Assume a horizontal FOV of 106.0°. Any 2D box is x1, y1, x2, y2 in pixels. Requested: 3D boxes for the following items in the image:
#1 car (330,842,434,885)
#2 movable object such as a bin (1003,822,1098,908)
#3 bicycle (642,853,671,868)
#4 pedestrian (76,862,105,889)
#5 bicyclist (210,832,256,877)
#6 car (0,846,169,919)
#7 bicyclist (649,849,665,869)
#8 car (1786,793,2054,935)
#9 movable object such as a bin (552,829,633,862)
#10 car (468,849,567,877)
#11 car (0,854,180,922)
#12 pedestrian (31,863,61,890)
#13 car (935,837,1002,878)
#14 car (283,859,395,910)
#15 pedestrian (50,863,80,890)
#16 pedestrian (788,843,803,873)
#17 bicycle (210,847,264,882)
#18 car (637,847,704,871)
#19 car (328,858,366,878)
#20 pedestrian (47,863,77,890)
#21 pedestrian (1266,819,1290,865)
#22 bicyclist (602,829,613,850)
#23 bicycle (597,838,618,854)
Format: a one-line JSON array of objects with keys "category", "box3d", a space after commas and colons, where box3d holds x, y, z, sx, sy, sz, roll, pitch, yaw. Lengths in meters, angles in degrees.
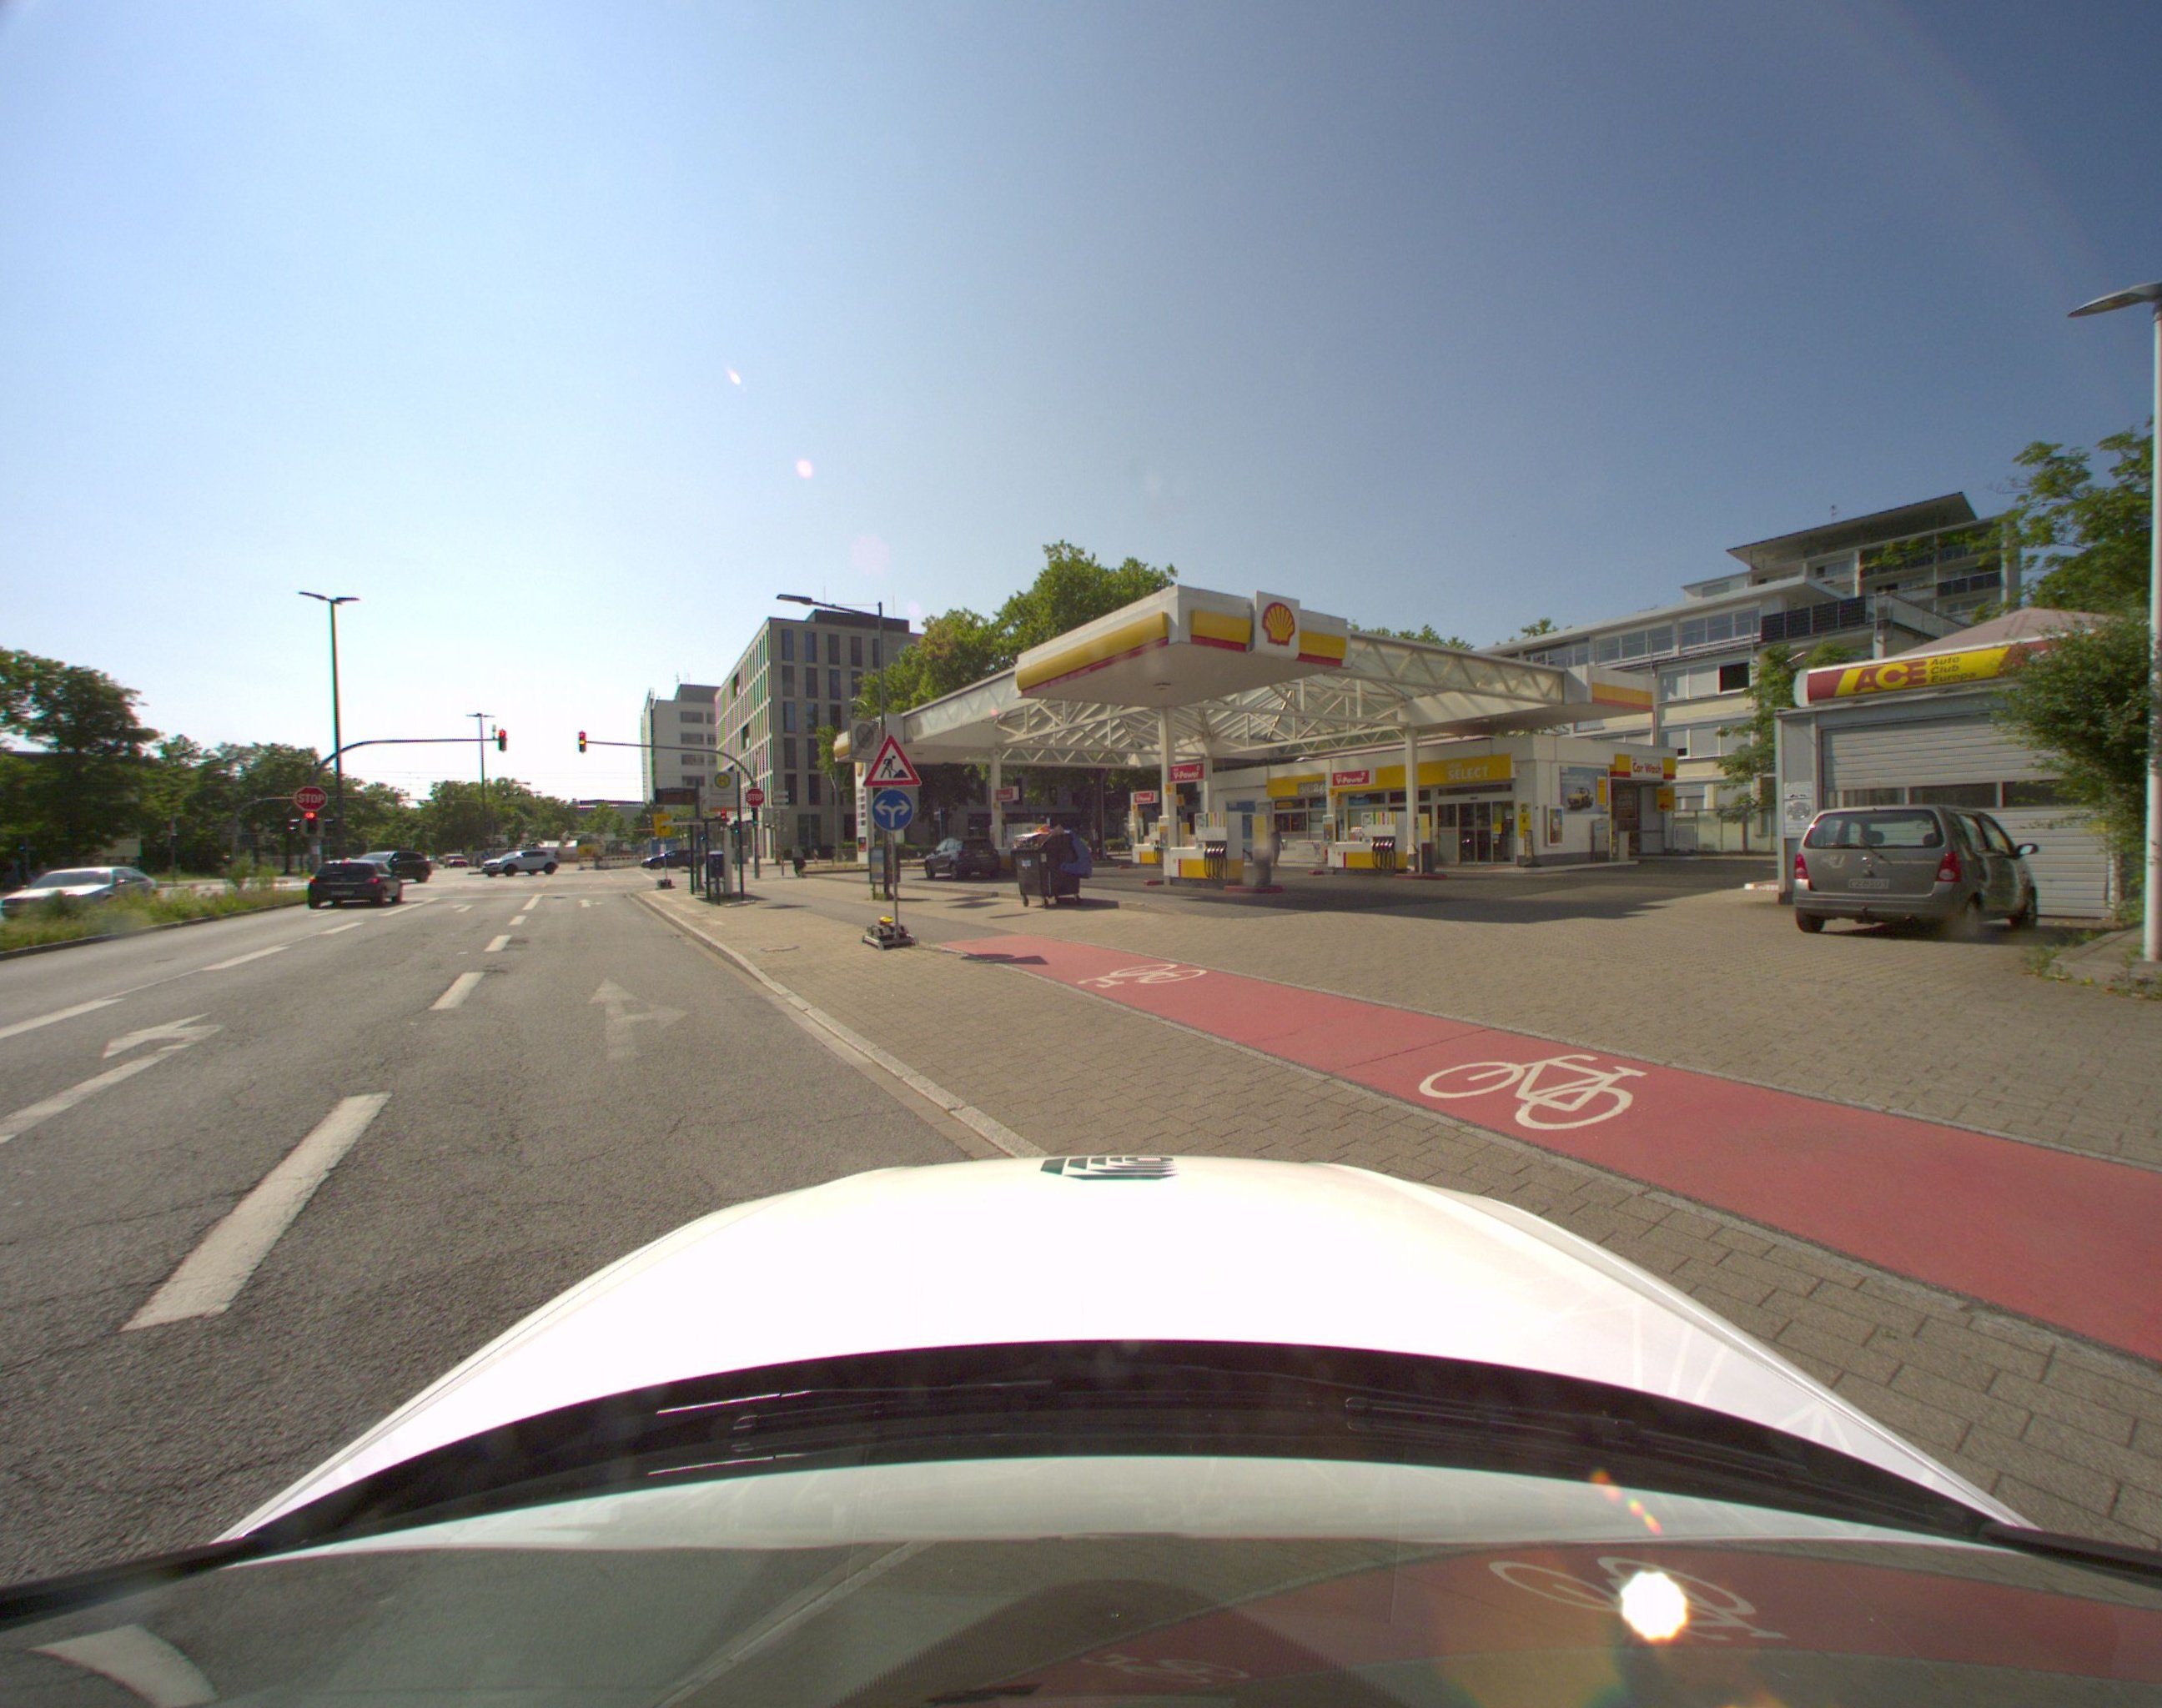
[{"category": "car", "box3d": [-36.334, 0.432, 42.511, 1.996, 2.013, 4.849, -2, 1, -13]}, {"category": "movable object such as a bin", "box3d": [-0.636, 0.196, 16.576, 1.317, 1.592, 1.381, -5, 3, -35]}, {"category": "bicycle", "box3d": [-37.491, 0.593, 71.987, 2.239, 1.285, 0.521, -1, 0, -24]}, {"category": "pedestrian", "box3d": [-62.101, 1.345, 51.088, 0.666, 1.611, 0.939, -1, 0, -9]}, {"category": "bicyclist", "box3d": [-57.697, 0.042, 55.443, 1.611, 2.930, 2.329, -2, 1, -32]}, {"category": "car", "box3d": [-27.228, 0.686, 22.122, 2.007, 1.638, 4.353, -2, 3, -31]}, {"category": "bicyclist", "box3d": [-37.478, 0.448, 72.006, 1.245, 1.673, 0.521, -1, 0, -24]}, {"category": "car", "box3d": [11.138, 0.062, 10.768, 3.844, 1.596, 1.575, -2, 1, -30]}, {"category": "movable object such as a bin", "box3d": [-69.764, -1.280, 116.606, 9.738, 4.549, 3.133, -2, 1, -31]}, {"category": "car", "box3d": [-36.359, 0.559, 52.724, 1.976, 1.636, 4.897, -1, 1, 23]}, {"category": "car", "box3d": [-27.054, 0.833, 22.405, 1.904, 1.610, 4.471, -2, 1, -33]}, {"category": "pedestrian", "box3d": [-63.588, 1.396, 50.054, 0.654, 1.611, 0.939, -1, 0, -9]}, {"category": "car", "box3d": [-4.256, 0.115, 30.488, 1.656, 1.398, 3.615, -2, 1, -21]}, {"category": "car", "box3d": [-23.187, 0.899, 25.624, 2.008, 1.398, 3.958, -2, 1, -34]}, {"category": "pedestrian", "box3d": [-62.934, 1.374, 50.447, 0.654, 1.611, 0.939, -1, 0, -9]}, {"category": "pedestrian", "box3d": [-14.982, 0.194, 42.703, 0.622, 1.543, 0.457, -2, 1, -33]}, {"category": "bicycle", "box3d": [-58.113, 0.720, 56.137, 1.611, 2.269, 3.959, -2, 1, -32]}, {"category": "car", "box3d": [-31.028, 0.334, 61.619, 4.144, 1.638, 1.977, -3, 1, -38]}, {"category": "car", "box3d": [-59.207, 1.134, 65.671, 3.914, 1.509, 1.761, -1, 1, 40]}, {"category": "pedestrian", "box3d": [-61.646, 1.354, 49.272, 0.654, 1.611, 0.939, -1, 0, -9]}, {"category": "pedestrian", "box3d": [7.896, -0.473, 32.692, 0.676, 1.821, 0.625, -2, 1, -26]}, {"category": "bicyclist", "box3d": [-57.654, -1.737, 99.171, 1.075, 2.574, 0.820, -1, 0, -26]}, {"category": "bicycle", "box3d": [-57.663, -1.002, 99.162, 2.099, 1.962, 0.820, -1, 0, -26]}]
